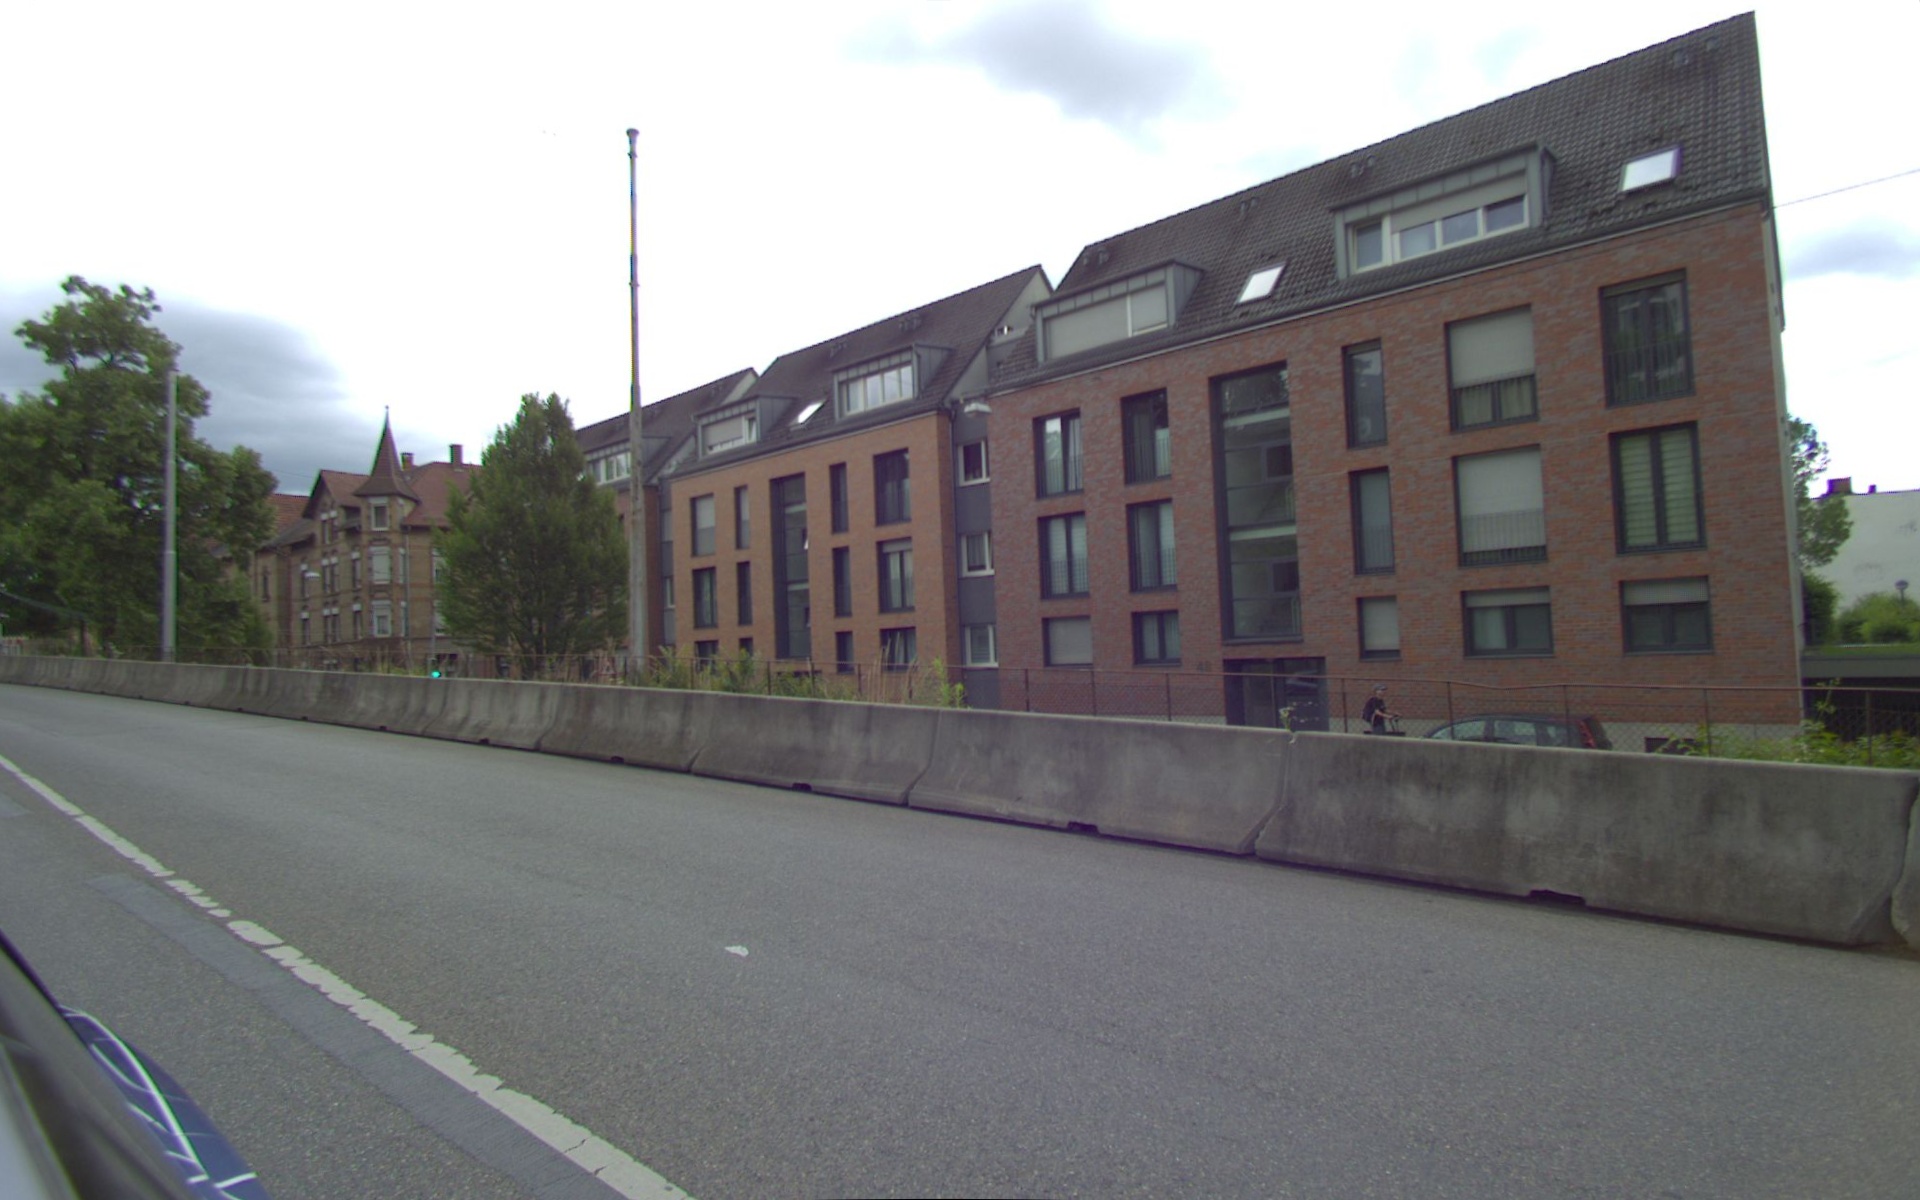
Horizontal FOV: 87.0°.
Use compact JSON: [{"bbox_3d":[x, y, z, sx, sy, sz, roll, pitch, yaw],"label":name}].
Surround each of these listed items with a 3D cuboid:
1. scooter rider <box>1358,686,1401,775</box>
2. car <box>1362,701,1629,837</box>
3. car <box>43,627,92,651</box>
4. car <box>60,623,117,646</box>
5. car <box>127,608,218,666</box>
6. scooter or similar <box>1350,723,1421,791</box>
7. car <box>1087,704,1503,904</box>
[{"bbox_3d":[8.479,2.615,20.451,0.577,1.718,0.482,-5,-2,41],"label":"scooter rider"},{"bbox_3d":[9.208,2.811,17.557,3.765,1.815,1.696,-2,-1,41],"label":"car"},{"bbox_3d":[-61.097,2.666,69.254,3.997,1.564,1.973,-2,-2,40],"label":"car"},{"bbox_3d":[-52.985,2.112,61.488,3.997,1.364,1.973,-2,-3,40],"label":"car"},{"bbox_3d":[-38.085,1.713,48.880,5.735,2.601,2.531,-1,0,43],"label":"car"},{"bbox_3d":[8.562,3.141,20.396,1.226,1.251,0.374,-3,-2,41],"label":"scooter or similar"},{"bbox_3d":[3.494,2.028,10.981,3.995,1.525,1.519,-2,-1,39],"label":"car"}]
